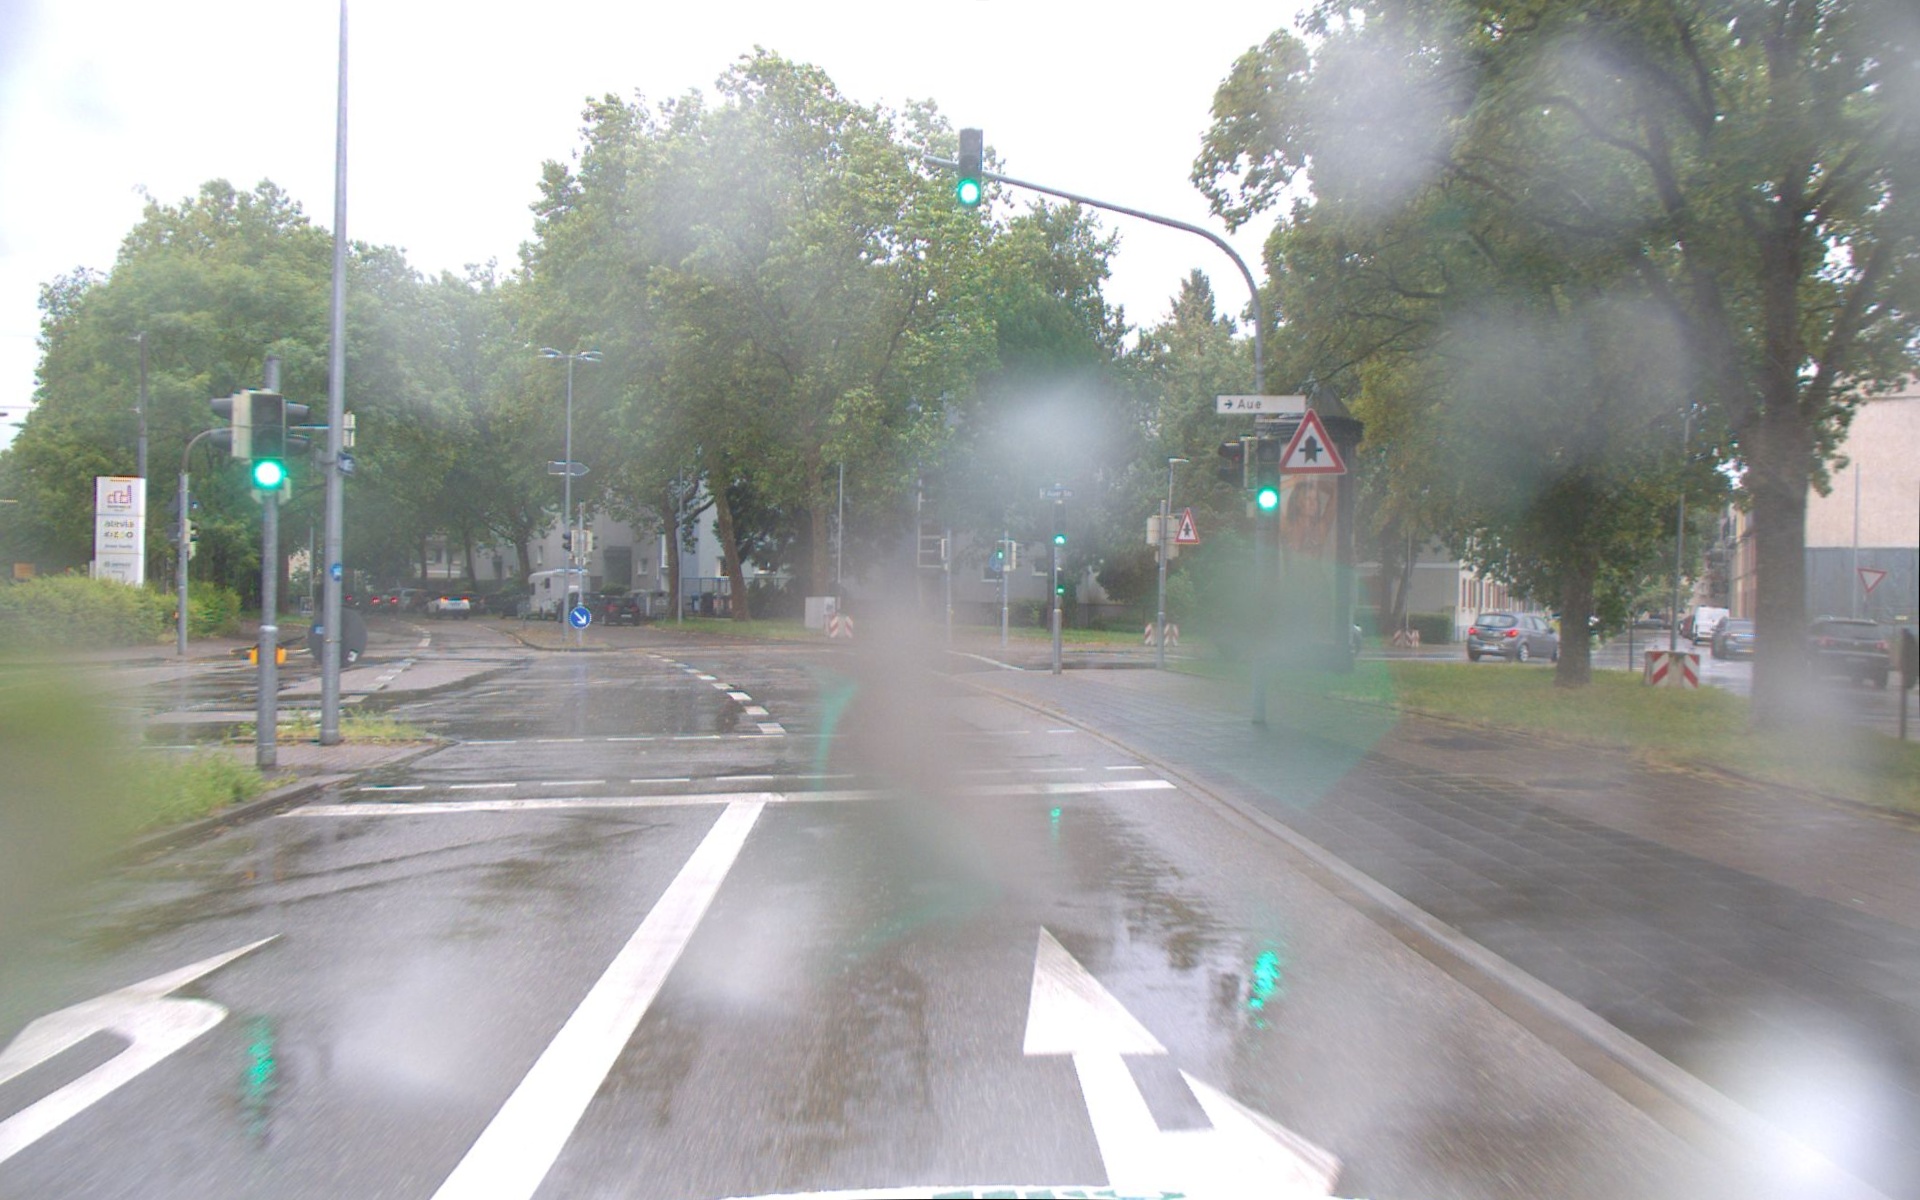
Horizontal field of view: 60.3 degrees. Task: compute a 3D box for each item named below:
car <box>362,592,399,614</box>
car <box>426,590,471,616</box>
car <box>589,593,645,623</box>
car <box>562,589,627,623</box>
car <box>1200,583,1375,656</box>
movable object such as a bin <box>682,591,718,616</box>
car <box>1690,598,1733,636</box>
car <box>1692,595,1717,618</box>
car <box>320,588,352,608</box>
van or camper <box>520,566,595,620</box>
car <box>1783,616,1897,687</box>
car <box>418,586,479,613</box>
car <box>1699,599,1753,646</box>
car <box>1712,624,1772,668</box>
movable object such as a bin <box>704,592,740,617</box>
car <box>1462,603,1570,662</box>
[{"bbox_3d":[-39.679,0.175,113.177,1.689,1.436,3.606,-2,1,-31],"label":"car"},{"bbox_3d":[-29.515,0.161,95.401,1.689,1.436,3.606,-2,1,-31],"label":"car"},{"bbox_3d":[-16.805,0.376,80.960,1.531,1.414,4.110,2,0,-29],"label":"car"},{"bbox_3d":[-18.908,0.342,85.483,1.897,1.649,4.404,2,-2,-32],"label":"car"},{"bbox_3d":[8.510,0.514,42.900,4.248,1.774,1.979,2,0,-32],"label":"car"},{"bbox_3d":[-15.701,0.209,99.917,1.829,1.457,1.210,1,0,41],"label":"movable object such as a bin"},{"bbox_3d":[45.942,1.055,101.189,2.303,2.247,4.610,1,0,24],"label":"car"},{"bbox_3d":[68.104,0.582,151.344,1.953,2.049,3.998,1,0,23],"label":"car"},{"bbox_3d":[-47.892,-0.173,126.961,1.689,1.436,3.606,-2,1,-31],"label":"car"},{"bbox_3d":[-22.593,-0.390,92.649,2.294,2.856,6.796,1,0,-29],"label":"van or camper"},{"bbox_3d":[22.541,1.277,42.508,1.815,1.683,4.307,1,0,18],"label":"car"},{"bbox_3d":[-35.565,-0.028,115.048,1.798,1.726,3.860,1,2,31],"label":"car"},{"bbox_3d":[32.337,0.947,69.910,1.838,1.841,4.088,1,0,22],"label":"car"},{"bbox_3d":[30.180,1.745,63.765,1.936,1.576,4.524,1,0,27],"label":"car"},{"bbox_3d":[-14.238,0.256,98.746,1.829,1.457,1.210,1,0,41],"label":"movable object such as a bin"},{"bbox_3d":[16.691,0.967,49.532,1.960,1.630,4.074,1,0,35],"label":"car"}]
